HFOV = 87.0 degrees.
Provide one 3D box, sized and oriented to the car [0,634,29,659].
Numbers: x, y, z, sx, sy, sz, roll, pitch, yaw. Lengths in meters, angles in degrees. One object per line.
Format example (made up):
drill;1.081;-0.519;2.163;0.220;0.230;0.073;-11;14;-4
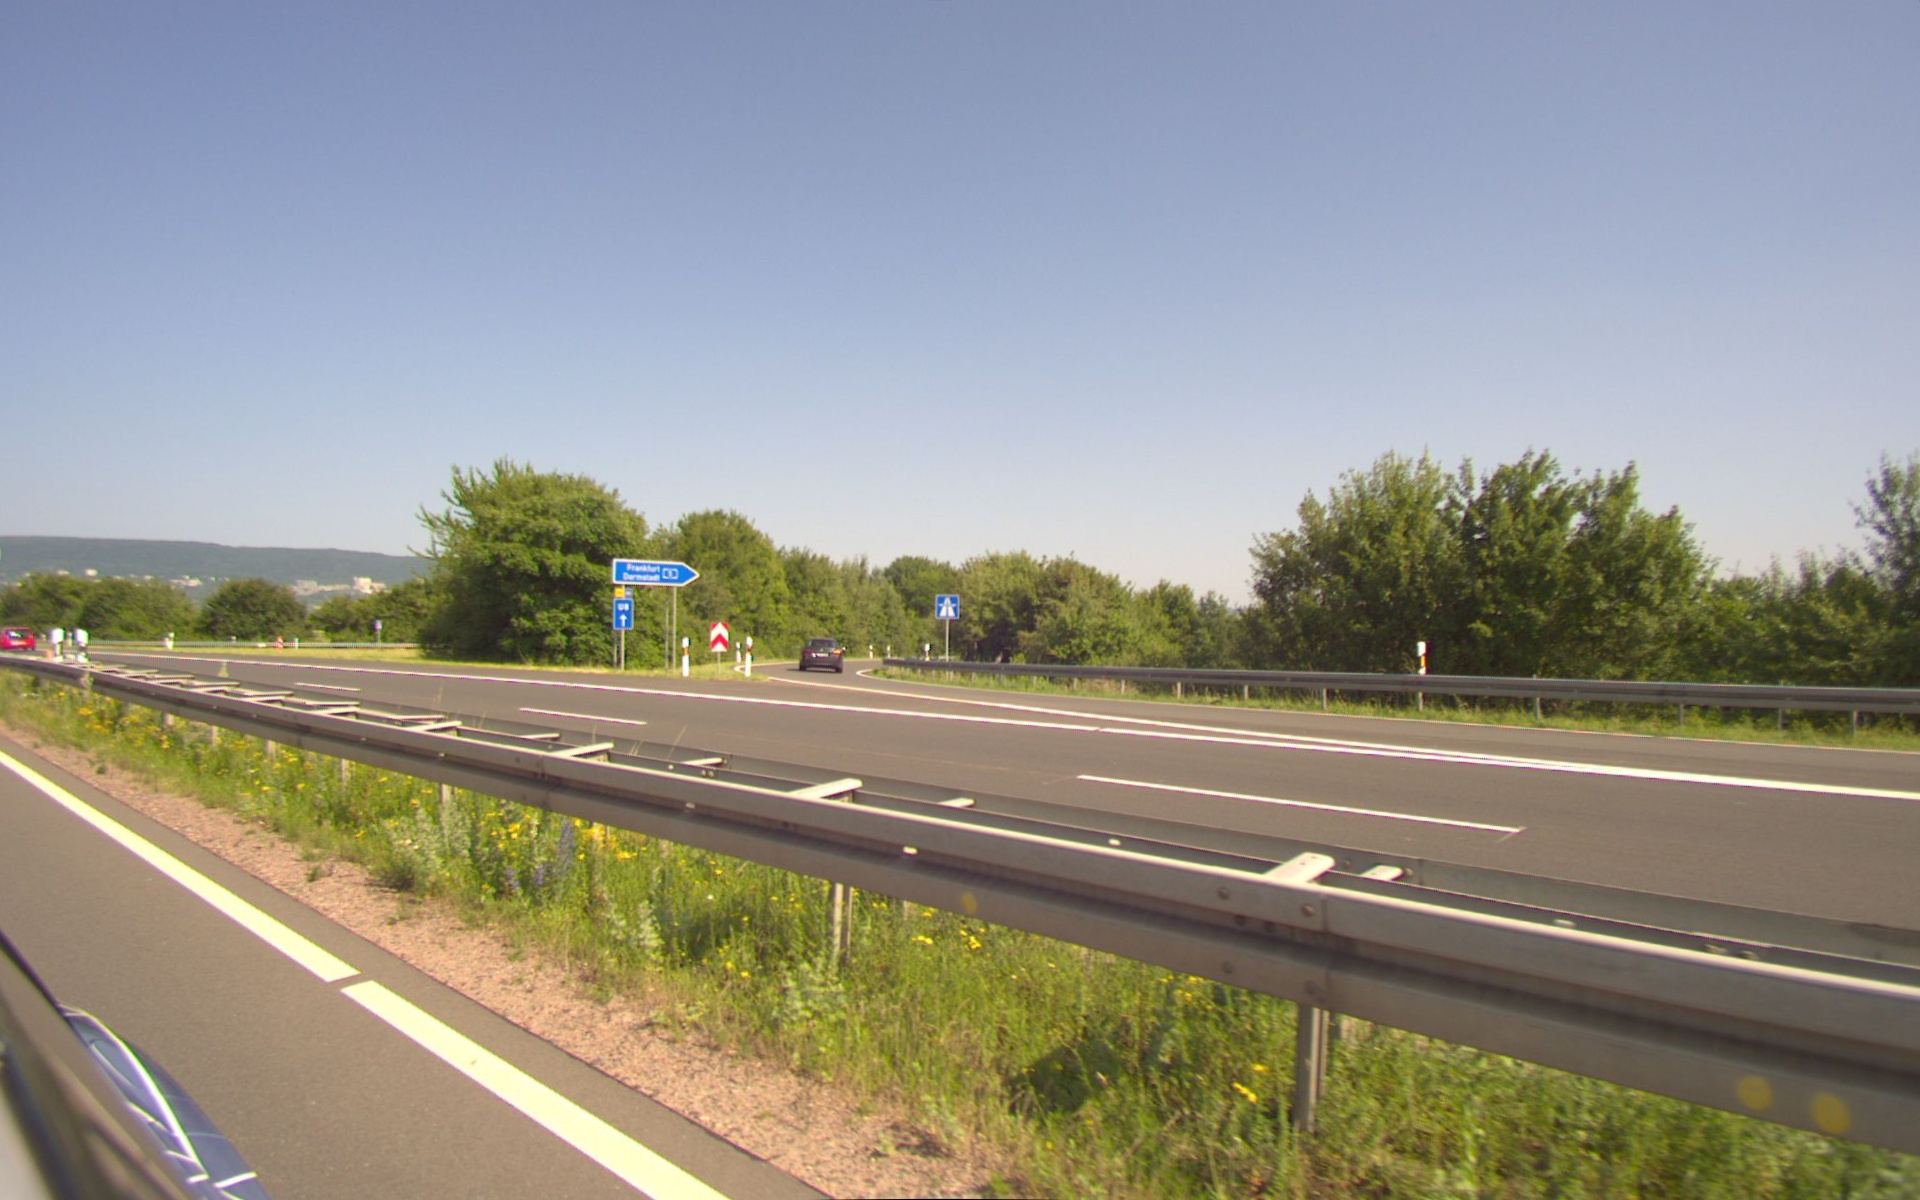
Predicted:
car;-59.137;2.876;62.751;3.764;1.468;1.612;-3;-3;40

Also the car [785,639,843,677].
car;-6.386;2.520;43.921;1.570;1.505;4.828;4;-4;-18
